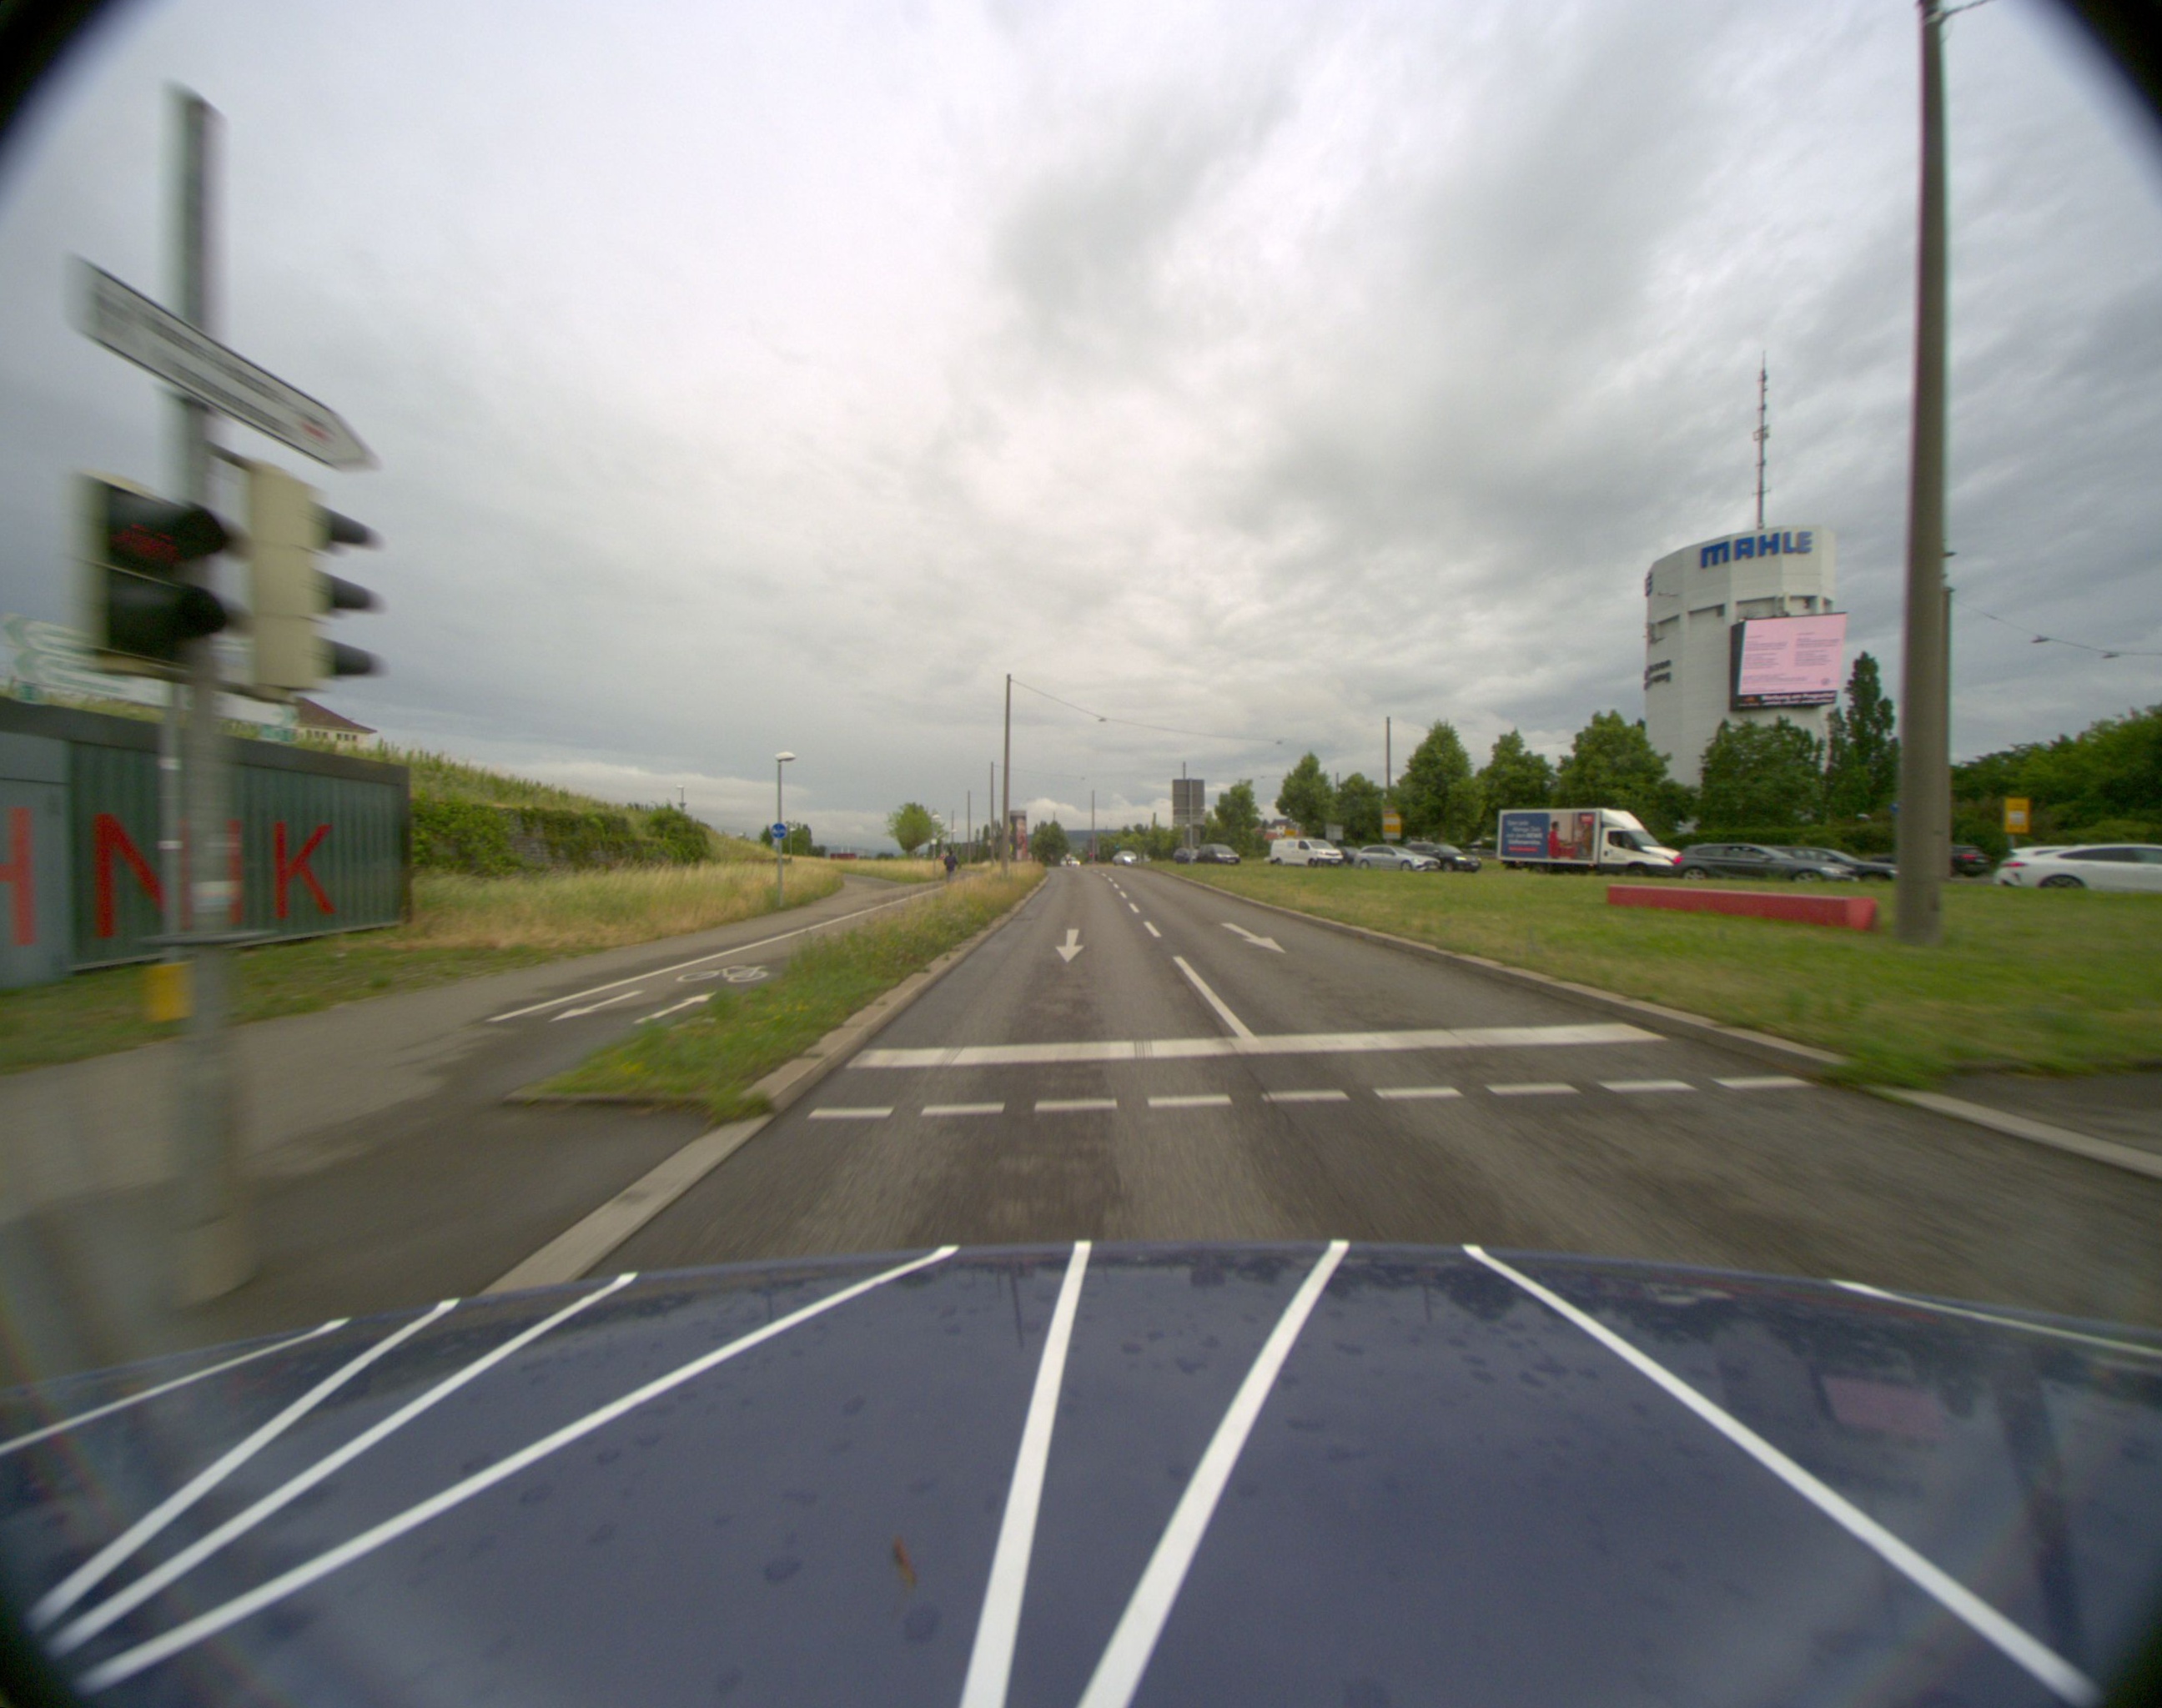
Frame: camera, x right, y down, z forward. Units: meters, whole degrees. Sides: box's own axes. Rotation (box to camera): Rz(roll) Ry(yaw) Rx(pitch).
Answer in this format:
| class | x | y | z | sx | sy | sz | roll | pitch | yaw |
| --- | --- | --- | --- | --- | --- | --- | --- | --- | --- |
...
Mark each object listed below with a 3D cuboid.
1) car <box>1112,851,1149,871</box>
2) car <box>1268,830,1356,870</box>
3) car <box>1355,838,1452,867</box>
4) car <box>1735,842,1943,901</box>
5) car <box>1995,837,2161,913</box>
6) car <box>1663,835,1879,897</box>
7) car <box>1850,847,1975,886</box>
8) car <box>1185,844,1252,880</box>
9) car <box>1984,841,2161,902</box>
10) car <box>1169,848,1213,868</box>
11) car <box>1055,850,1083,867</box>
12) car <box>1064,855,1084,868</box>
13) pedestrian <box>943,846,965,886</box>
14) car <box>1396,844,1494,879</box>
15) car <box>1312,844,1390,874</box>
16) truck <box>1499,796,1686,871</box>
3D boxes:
| class | x | y | z | sx | sy | sz | roll | pitch | yaw |
| --- | --- | --- | --- | --- | --- | --- | --- | --- | --- |
| car | 4.790 | 0.674 | 74.285 | 2.001 | 1.790 | 5.163 | -3 | 1 | -14 |
| car | 14.071 | -0.234 | 46.659 | 2.376 | 2.169 | 5.299 | -3 | 1 | -20 |
| car | 16.794 | -0.068 | 39.840 | 2.002 | 1.303 | 4.522 | -3 | 1 | -23 |
| car | 24.836 | 0.547 | 25.064 | 2.003 | 1.673 | 4.510 | -3 | 1 | -33 |
| car | 25.449 | 0.469 | 18.149 | 2.003 | 1.673 | 4.508 | -3 | 2 | -36 |
| car | 21.151 | 0.351 | 23.511 | 2.003 | 1.673 | 4.510 | -3 | 1 | -30 |
| car | 42.998 | 0.622 | 39.379 | 1.820 | 1.807 | 3.991 | -3 | 1 | -26 |
| car | 9.189 | 0.517 | 51.196 | 2.002 | 2.169 | 5.161 | -3 | 1 | -20 |
| car | 30.695 | 0.507 | 22.841 | 2.003 | 1.673 | 4.509 | -3 | 1 | -39 |
| car | 10.016 | 0.378 | 69.500 | 2.001 | 1.673 | 4.513 | -3 | 1 | -19 |
| car | -1.435 | 0.470 | 87.258 | 2.001 | 1.790 | 5.163 | -3 | 1 | -14 |
| car | -1.107 | 1.086 | 114.552 | 2.001 | 1.772 | 3.994 | -3 | 1 | -16 |
| pedestrian | -5.672 | 0.520 | 33.827 | 0.801 | 1.713 | 0.988 | -3 | 1 | -15 |
| car | 19.515 | 0.391 | 40.963 | 2.002 | 1.673 | 4.512 | -3 | 1 | -23 |
| car | 16.722 | 0.295 | 47.328 | 2.002 | 1.673 | 4.512 | -3 | 1 | -23 |
| truck | 21.032 | -0.764 | 31.600 | 2.134 | 2.818 | 6.017 | -3 | 1 | -31 |
